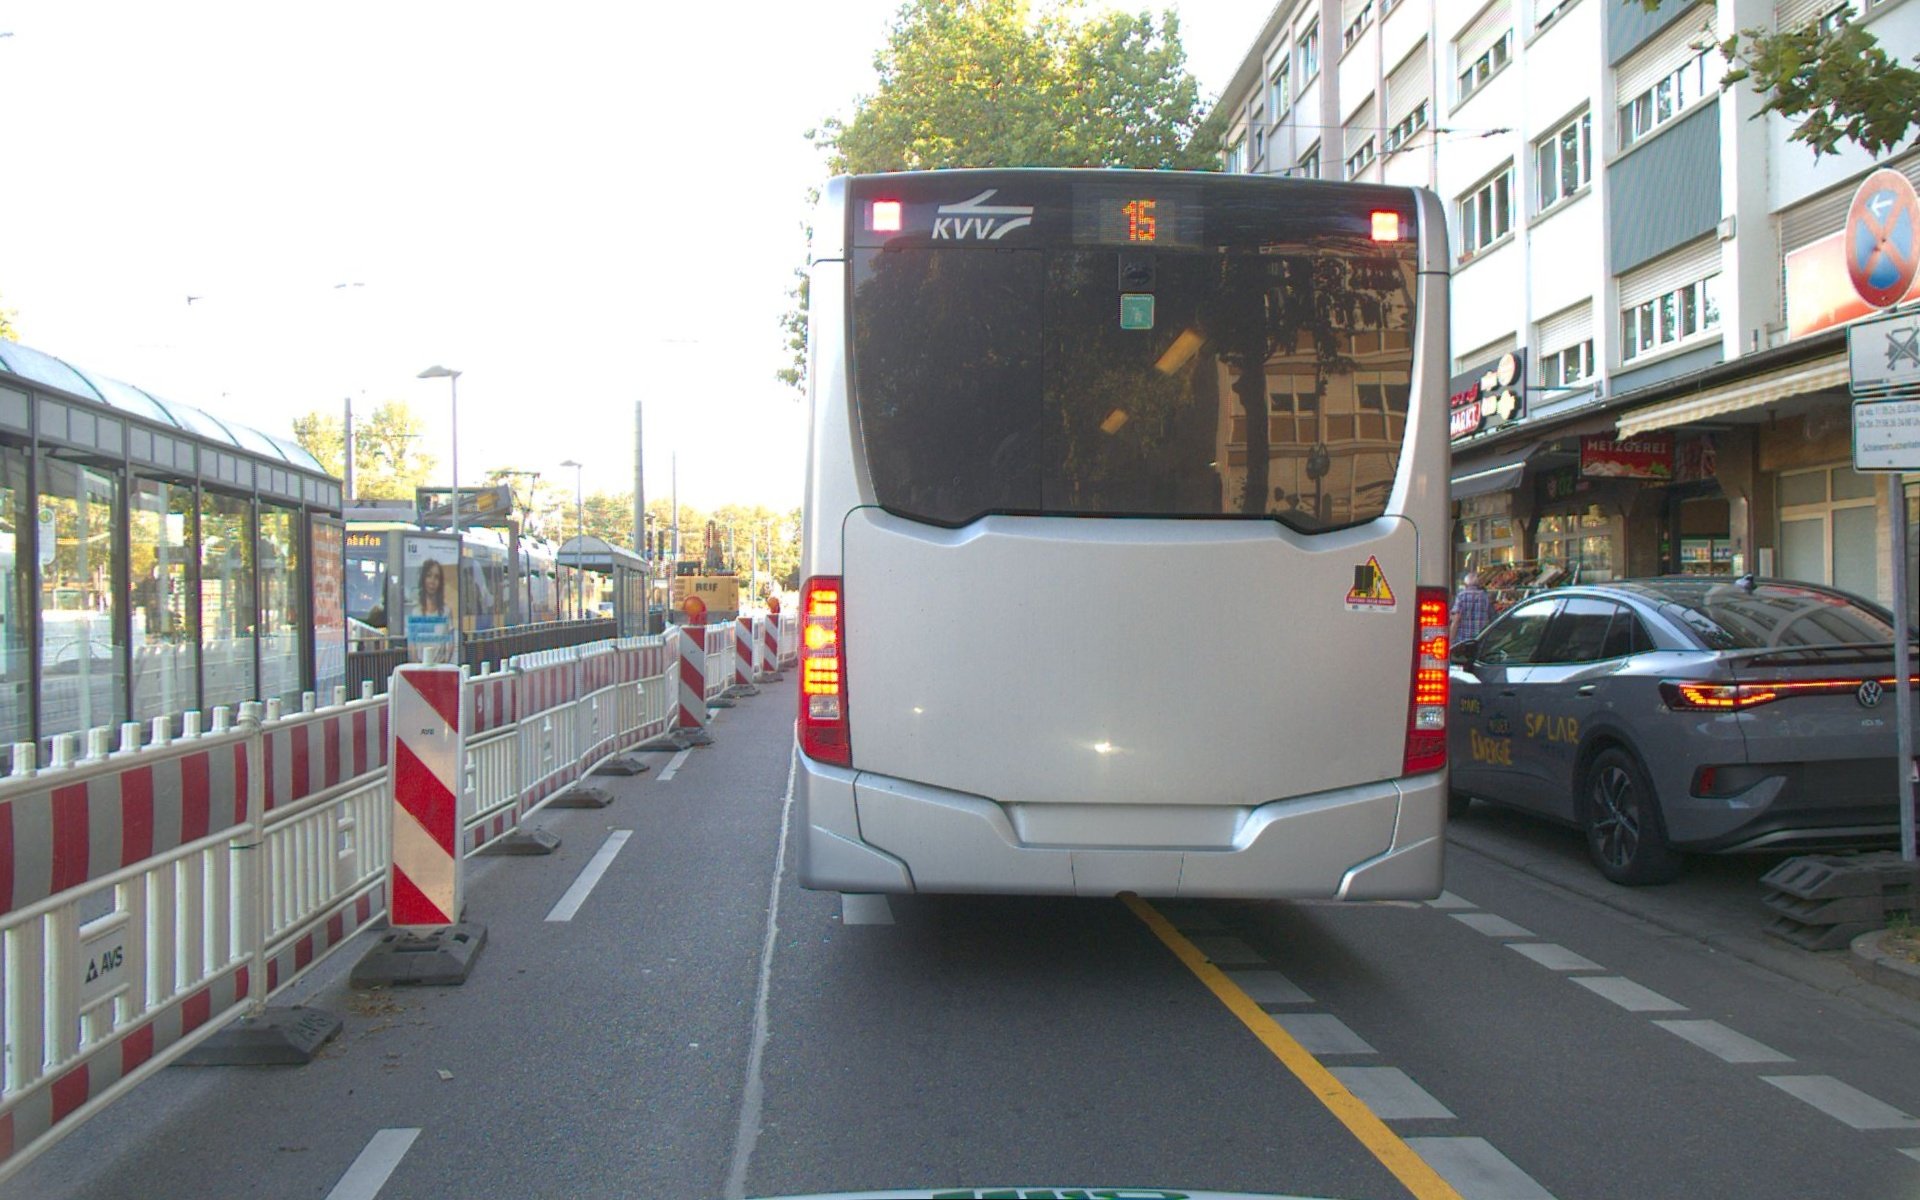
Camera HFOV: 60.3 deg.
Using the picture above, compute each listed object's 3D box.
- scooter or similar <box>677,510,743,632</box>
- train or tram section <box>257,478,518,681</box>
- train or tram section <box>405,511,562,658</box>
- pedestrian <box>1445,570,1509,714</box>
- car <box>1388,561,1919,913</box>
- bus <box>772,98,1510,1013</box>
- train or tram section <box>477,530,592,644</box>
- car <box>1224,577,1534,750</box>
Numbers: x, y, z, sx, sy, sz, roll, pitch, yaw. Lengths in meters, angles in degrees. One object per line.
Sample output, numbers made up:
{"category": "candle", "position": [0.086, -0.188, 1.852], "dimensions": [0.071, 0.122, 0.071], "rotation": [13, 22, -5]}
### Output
{"category": "scooter or similar", "position": [-9.708, -1.076, 64.511], "dimensions": [2.422, 4.549, 5.962], "rotation": [0, 0, -8]}
{"category": "train or tram section", "position": [-11.836, -0.346, 35.572], "dimensions": [2.635, 3.595, 11.755], "rotation": [1, 0, -6]}
{"category": "train or tram section", "position": [-13.298, -0.372, 47.138], "dimensions": [2.636, 3.621, 11.560], "rotation": [1, 0, -8]}
{"category": "pedestrian", "position": [6.256, 0.503, 20.030], "dimensions": [0.649, 1.696, 0.601], "rotation": [-2, -1, 15]}
{"category": "car", "position": [4.367, 0.626, 10.146], "dimensions": [1.955, 1.609, 4.363], "rotation": [-3, 1, -5]}
{"category": "bus", "position": [0.594, -0.143, 9.851], "dimensions": [2.558, 3.181, 7.991], "rotation": [1, 0, -1]}
{"category": "train or tram section", "position": [-14.859, -0.393, 58.548], "dimensions": [2.636, 3.594, 11.559], "rotation": [1, 0, -8]}
{"category": "car", "position": [4.483, 0.608, 18.452], "dimensions": [1.955, 1.609, 4.363], "rotation": [-3, 1, -5]}
